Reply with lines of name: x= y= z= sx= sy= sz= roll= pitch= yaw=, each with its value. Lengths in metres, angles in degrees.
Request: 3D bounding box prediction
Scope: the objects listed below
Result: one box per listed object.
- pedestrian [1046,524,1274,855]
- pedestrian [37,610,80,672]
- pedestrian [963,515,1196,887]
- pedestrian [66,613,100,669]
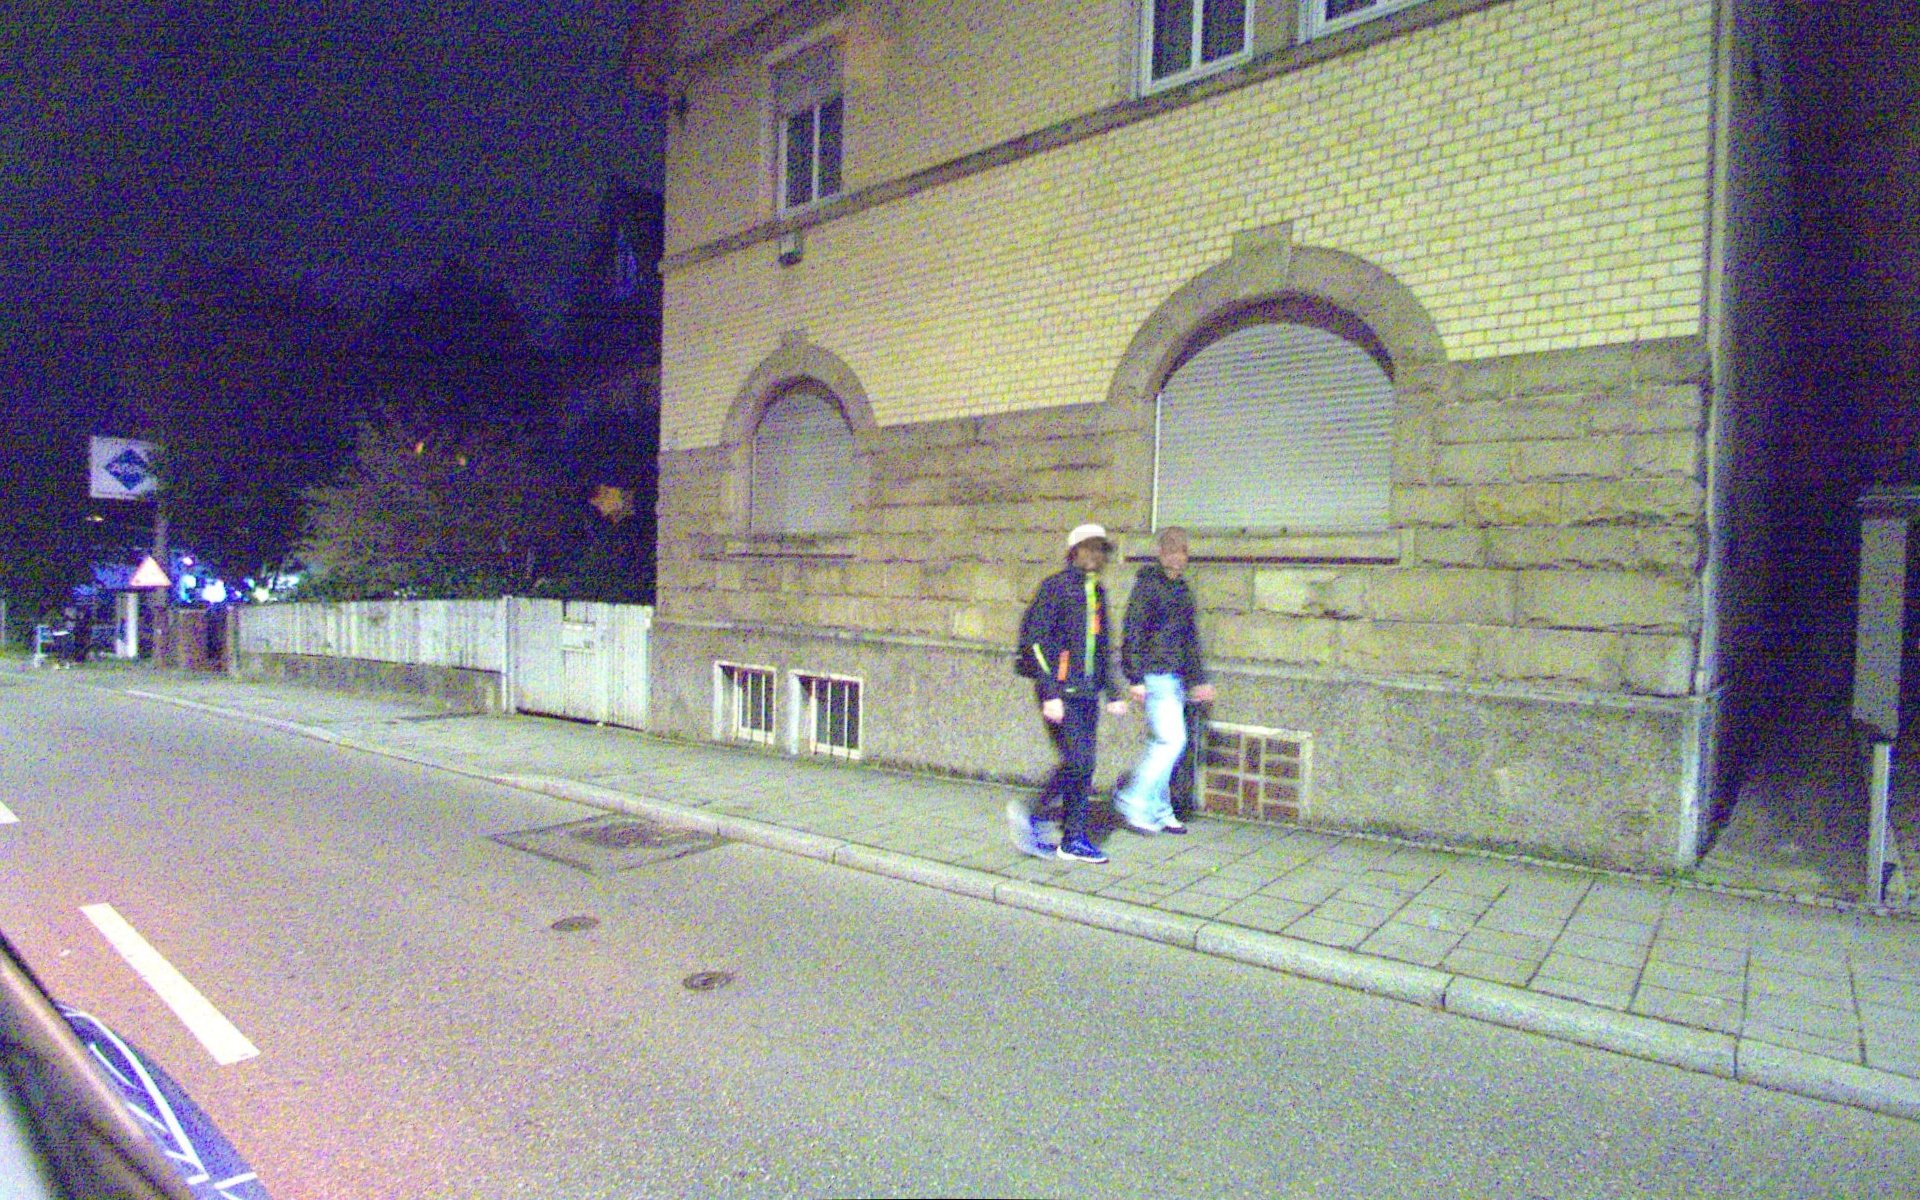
pedestrian: x=1.179 y=0.476 z=6.014 sx=1.102 sy=1.758 sz=0.734 roll=-1 pitch=0 yaw=40
pedestrian: x=-25.126 y=1.134 z=28.204 sx=1.102 sy=1.684 sz=0.734 roll=-1 pitch=0 yaw=40
pedestrian: x=0.625 y=0.480 z=5.380 sx=1.028 sy=1.758 sz=0.668 roll=-1 pitch=0 yaw=40
pedestrian: x=-27.493 y=1.278 z=31.717 sx=0.865 sy=1.739 sz=0.662 roll=-1 pitch=-1 yaw=38
